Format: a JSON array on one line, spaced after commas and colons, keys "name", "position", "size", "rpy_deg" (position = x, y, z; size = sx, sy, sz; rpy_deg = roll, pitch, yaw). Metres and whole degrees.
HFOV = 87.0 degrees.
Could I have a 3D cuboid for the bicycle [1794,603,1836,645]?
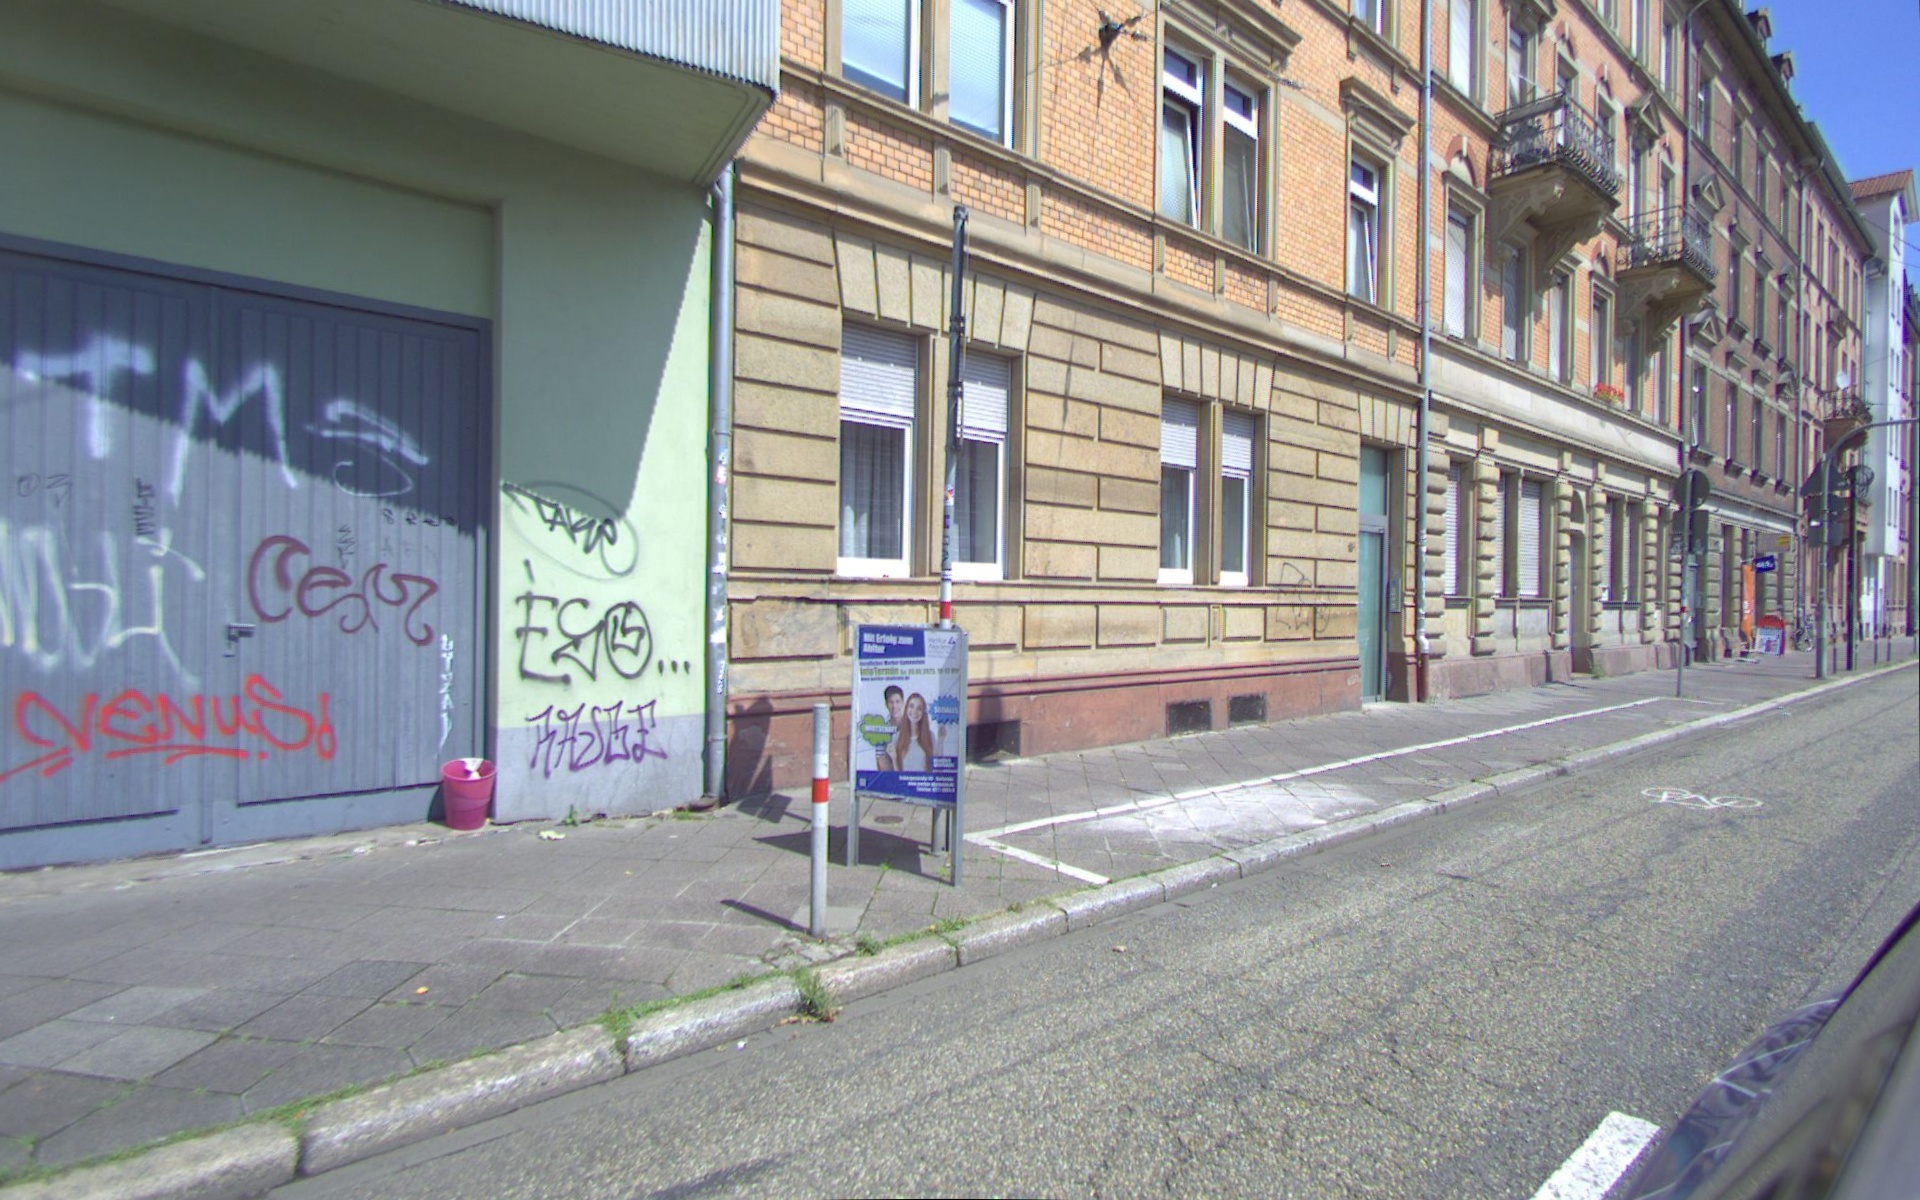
[{"name": "bicycle", "position": [25.447, 0.705, 30.100], "size": [2.166, 1.193, 0.587], "rpy_deg": [0, 1, -40]}]
